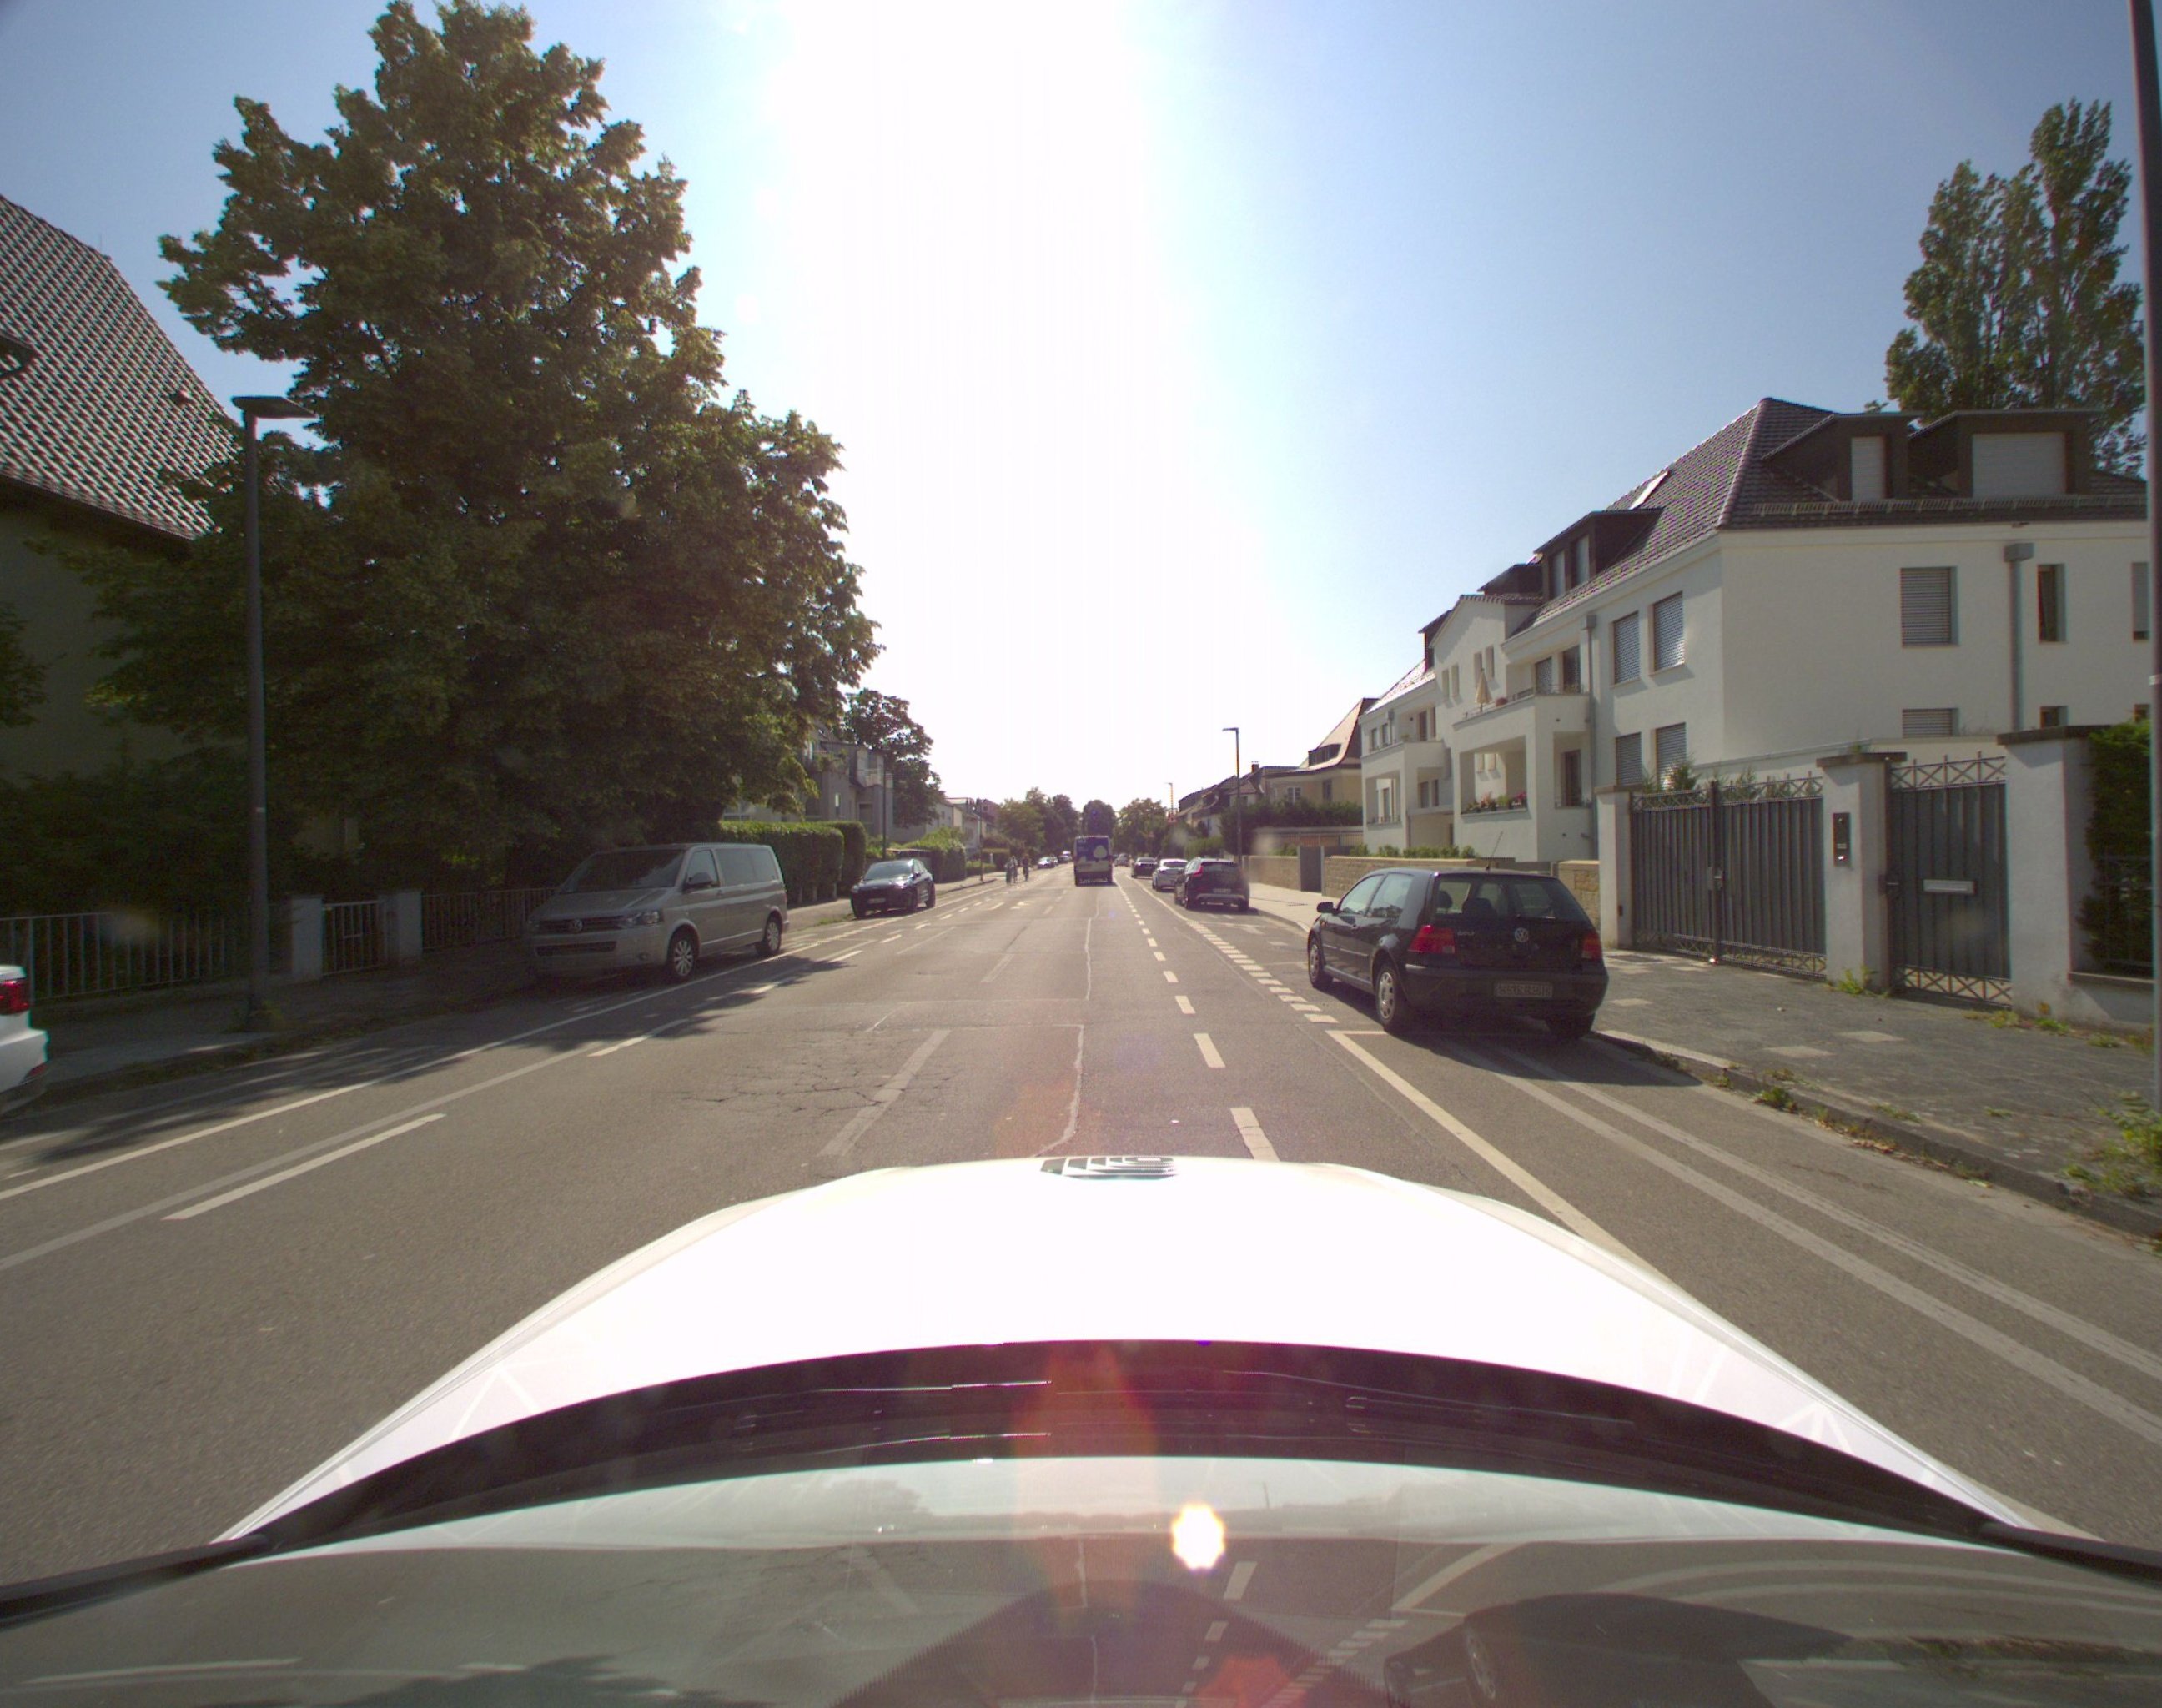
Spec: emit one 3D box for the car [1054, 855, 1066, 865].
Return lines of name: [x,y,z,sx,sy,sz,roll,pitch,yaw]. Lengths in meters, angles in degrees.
car: [-3.373,0.940,130.640,1.779,1.440,4.000,-2,0,0]

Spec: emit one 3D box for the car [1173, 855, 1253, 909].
car: [3.836,0.776,24.299,1.716,1.449,4.169,2,0,1]

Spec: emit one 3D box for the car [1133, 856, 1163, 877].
car: [4.486,0.810,55.326,1.730,1.329,4.260,-2,0,1]

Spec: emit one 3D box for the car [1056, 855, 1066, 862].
car: [-4.083,0.932,164.899,1.775,1.460,4.085,-2,0,0]

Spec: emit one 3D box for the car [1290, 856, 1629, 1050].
car: [3.438,0.778,8.285,1.614,1.449,4.000,2,0,1]

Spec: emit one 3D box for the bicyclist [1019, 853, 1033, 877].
bicyclist: [-3.896,0.754,57.734,0.746,1.667,1.022,-3,-1,1]

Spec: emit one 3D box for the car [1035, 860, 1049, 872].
car: [-5.144,1.567,107.136,1.781,1.440,4.151,-3,0,-2]

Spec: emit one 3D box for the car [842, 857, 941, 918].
car: [-5.871,0.973,25.792,1.844,1.611,4.450,-5,0,2]

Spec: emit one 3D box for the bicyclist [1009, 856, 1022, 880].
bicyclist: [-4.395,0.921,54.435,0.673,1.580,0.859,-3,-1,1]

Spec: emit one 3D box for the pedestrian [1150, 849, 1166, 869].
pedestrian: [7.432,0.488,78.516,0.905,1.872,1.177,-1,-1,-32]

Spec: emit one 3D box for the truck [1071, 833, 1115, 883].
truck: [0.650,0.220,44.747,2.264,2.571,4.392,-1,0,1]

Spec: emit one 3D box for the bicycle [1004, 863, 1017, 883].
bicycle: [-4.278,1.150,49.460,0.598,1.105,1.347,-3,-1,1]

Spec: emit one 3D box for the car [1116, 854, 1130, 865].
car: [5.654,0.685,110.367,1.735,1.402,4.073,0,1,0]

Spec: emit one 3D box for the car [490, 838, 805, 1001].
car: [-6.188,0.806,12.479,1.877,1.919,4.873,-3,0,4]

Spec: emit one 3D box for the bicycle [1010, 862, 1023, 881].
bicycle: [-4.315,1.156,54.451,0.557,1.185,2.036,-4,-1,2]

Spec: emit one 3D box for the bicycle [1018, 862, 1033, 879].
bicycle: [-3.903,1.146,57.809,0.780,1.166,2.421,-3,-1,1]

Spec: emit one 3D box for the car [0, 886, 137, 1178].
car: [-6.581,1.001,2.525,1.827,1.485,4.563,-4,0,1]

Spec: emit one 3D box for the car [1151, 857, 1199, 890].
car: [4.114,0.844,36.215,1.730,1.329,4.077,2,-1,2]

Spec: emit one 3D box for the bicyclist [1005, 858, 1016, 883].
bicyclist: [-4.296,0.977,49.459,0.488,1.454,0.964,-3,-1,1]
